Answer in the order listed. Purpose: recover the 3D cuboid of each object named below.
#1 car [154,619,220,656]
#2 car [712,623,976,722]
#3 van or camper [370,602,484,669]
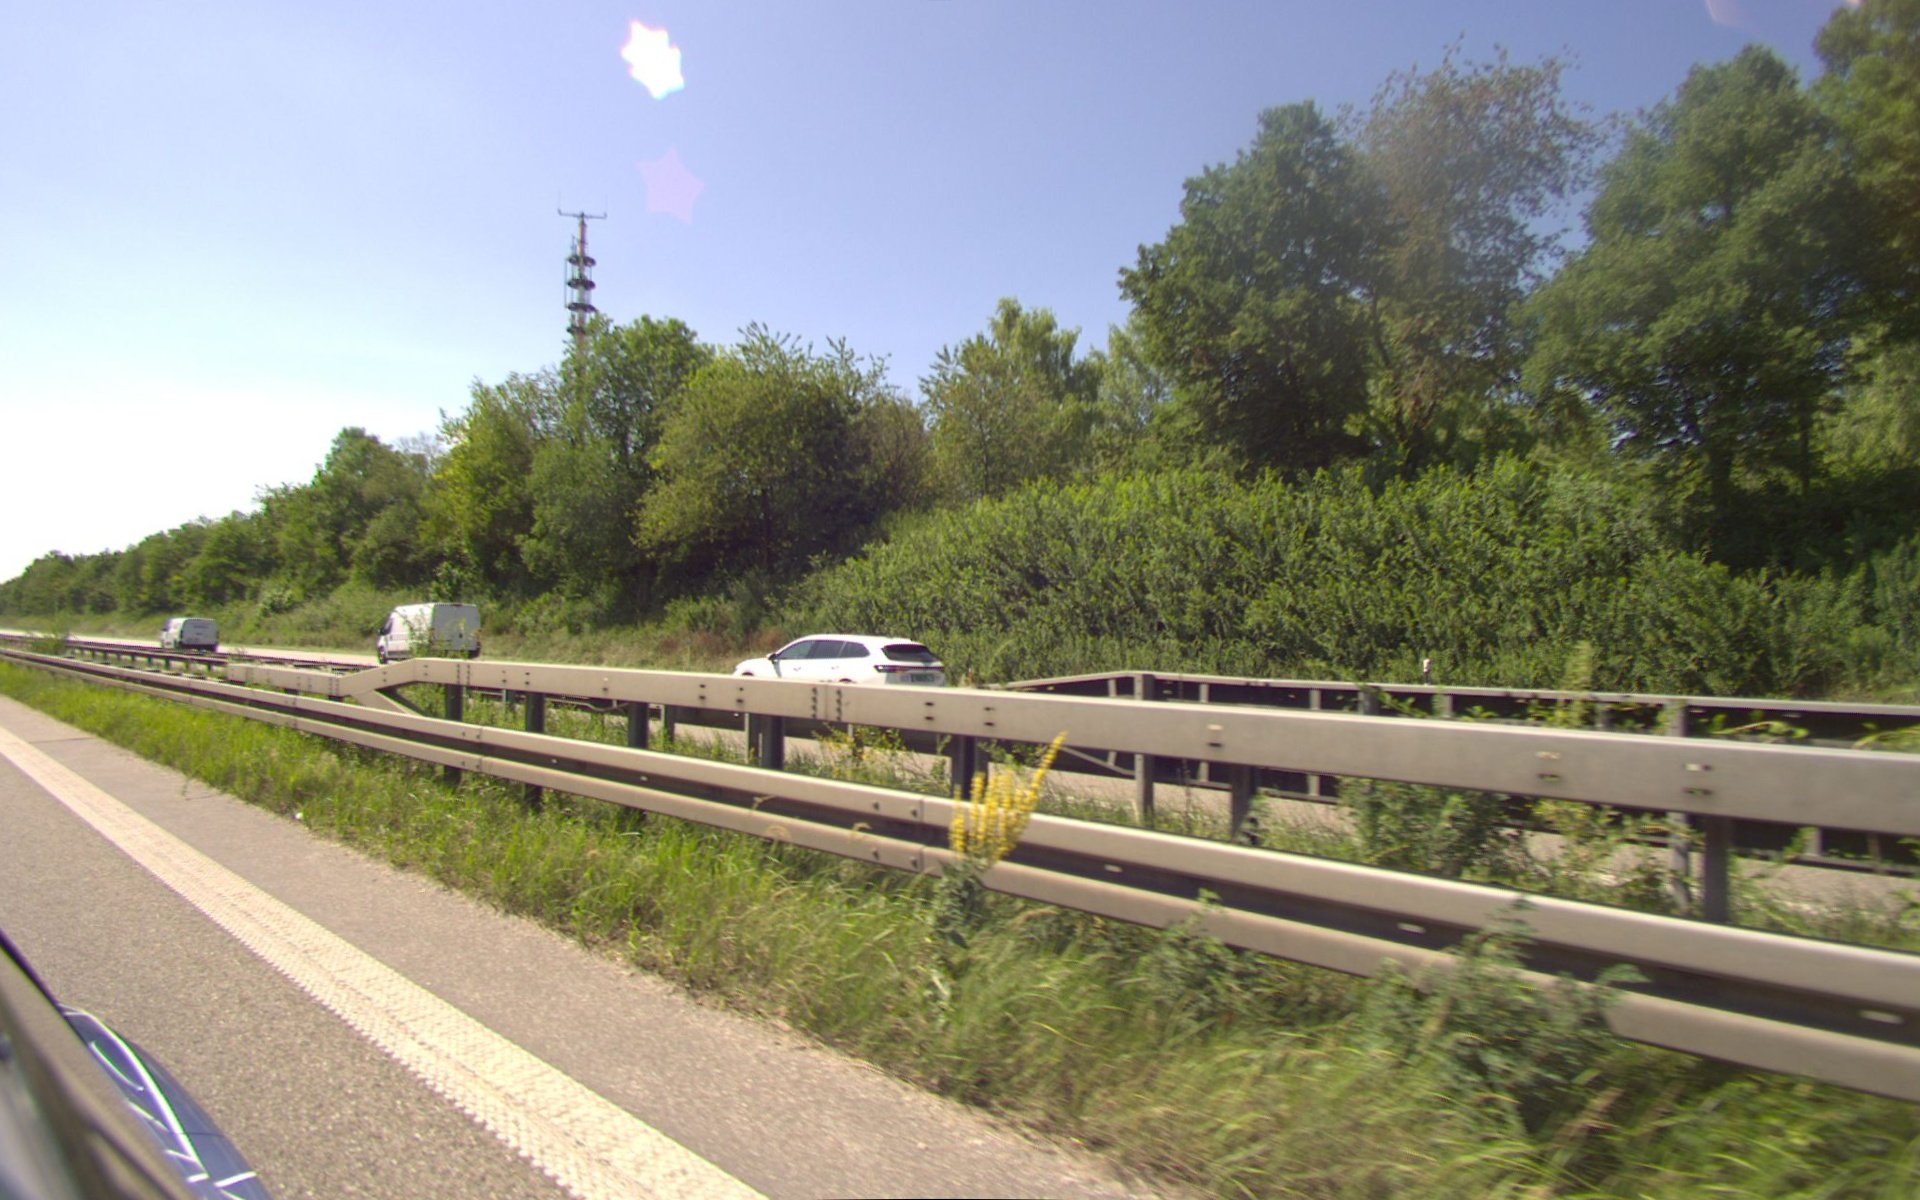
[{"bbox_3d":[-40.705,1.972,53.243,5.166,1.844,1.727,-1,-4,41],"label":"car"},{"bbox_3d":[-2.329,1.284,19.110,5.307,1.622,1.859,-1,-4,41],"label":"car"},{"bbox_3d":[-22.139,1.476,41.912,6.195,2.579,2.016,-1,-4,41],"label":"van or camper"}]
